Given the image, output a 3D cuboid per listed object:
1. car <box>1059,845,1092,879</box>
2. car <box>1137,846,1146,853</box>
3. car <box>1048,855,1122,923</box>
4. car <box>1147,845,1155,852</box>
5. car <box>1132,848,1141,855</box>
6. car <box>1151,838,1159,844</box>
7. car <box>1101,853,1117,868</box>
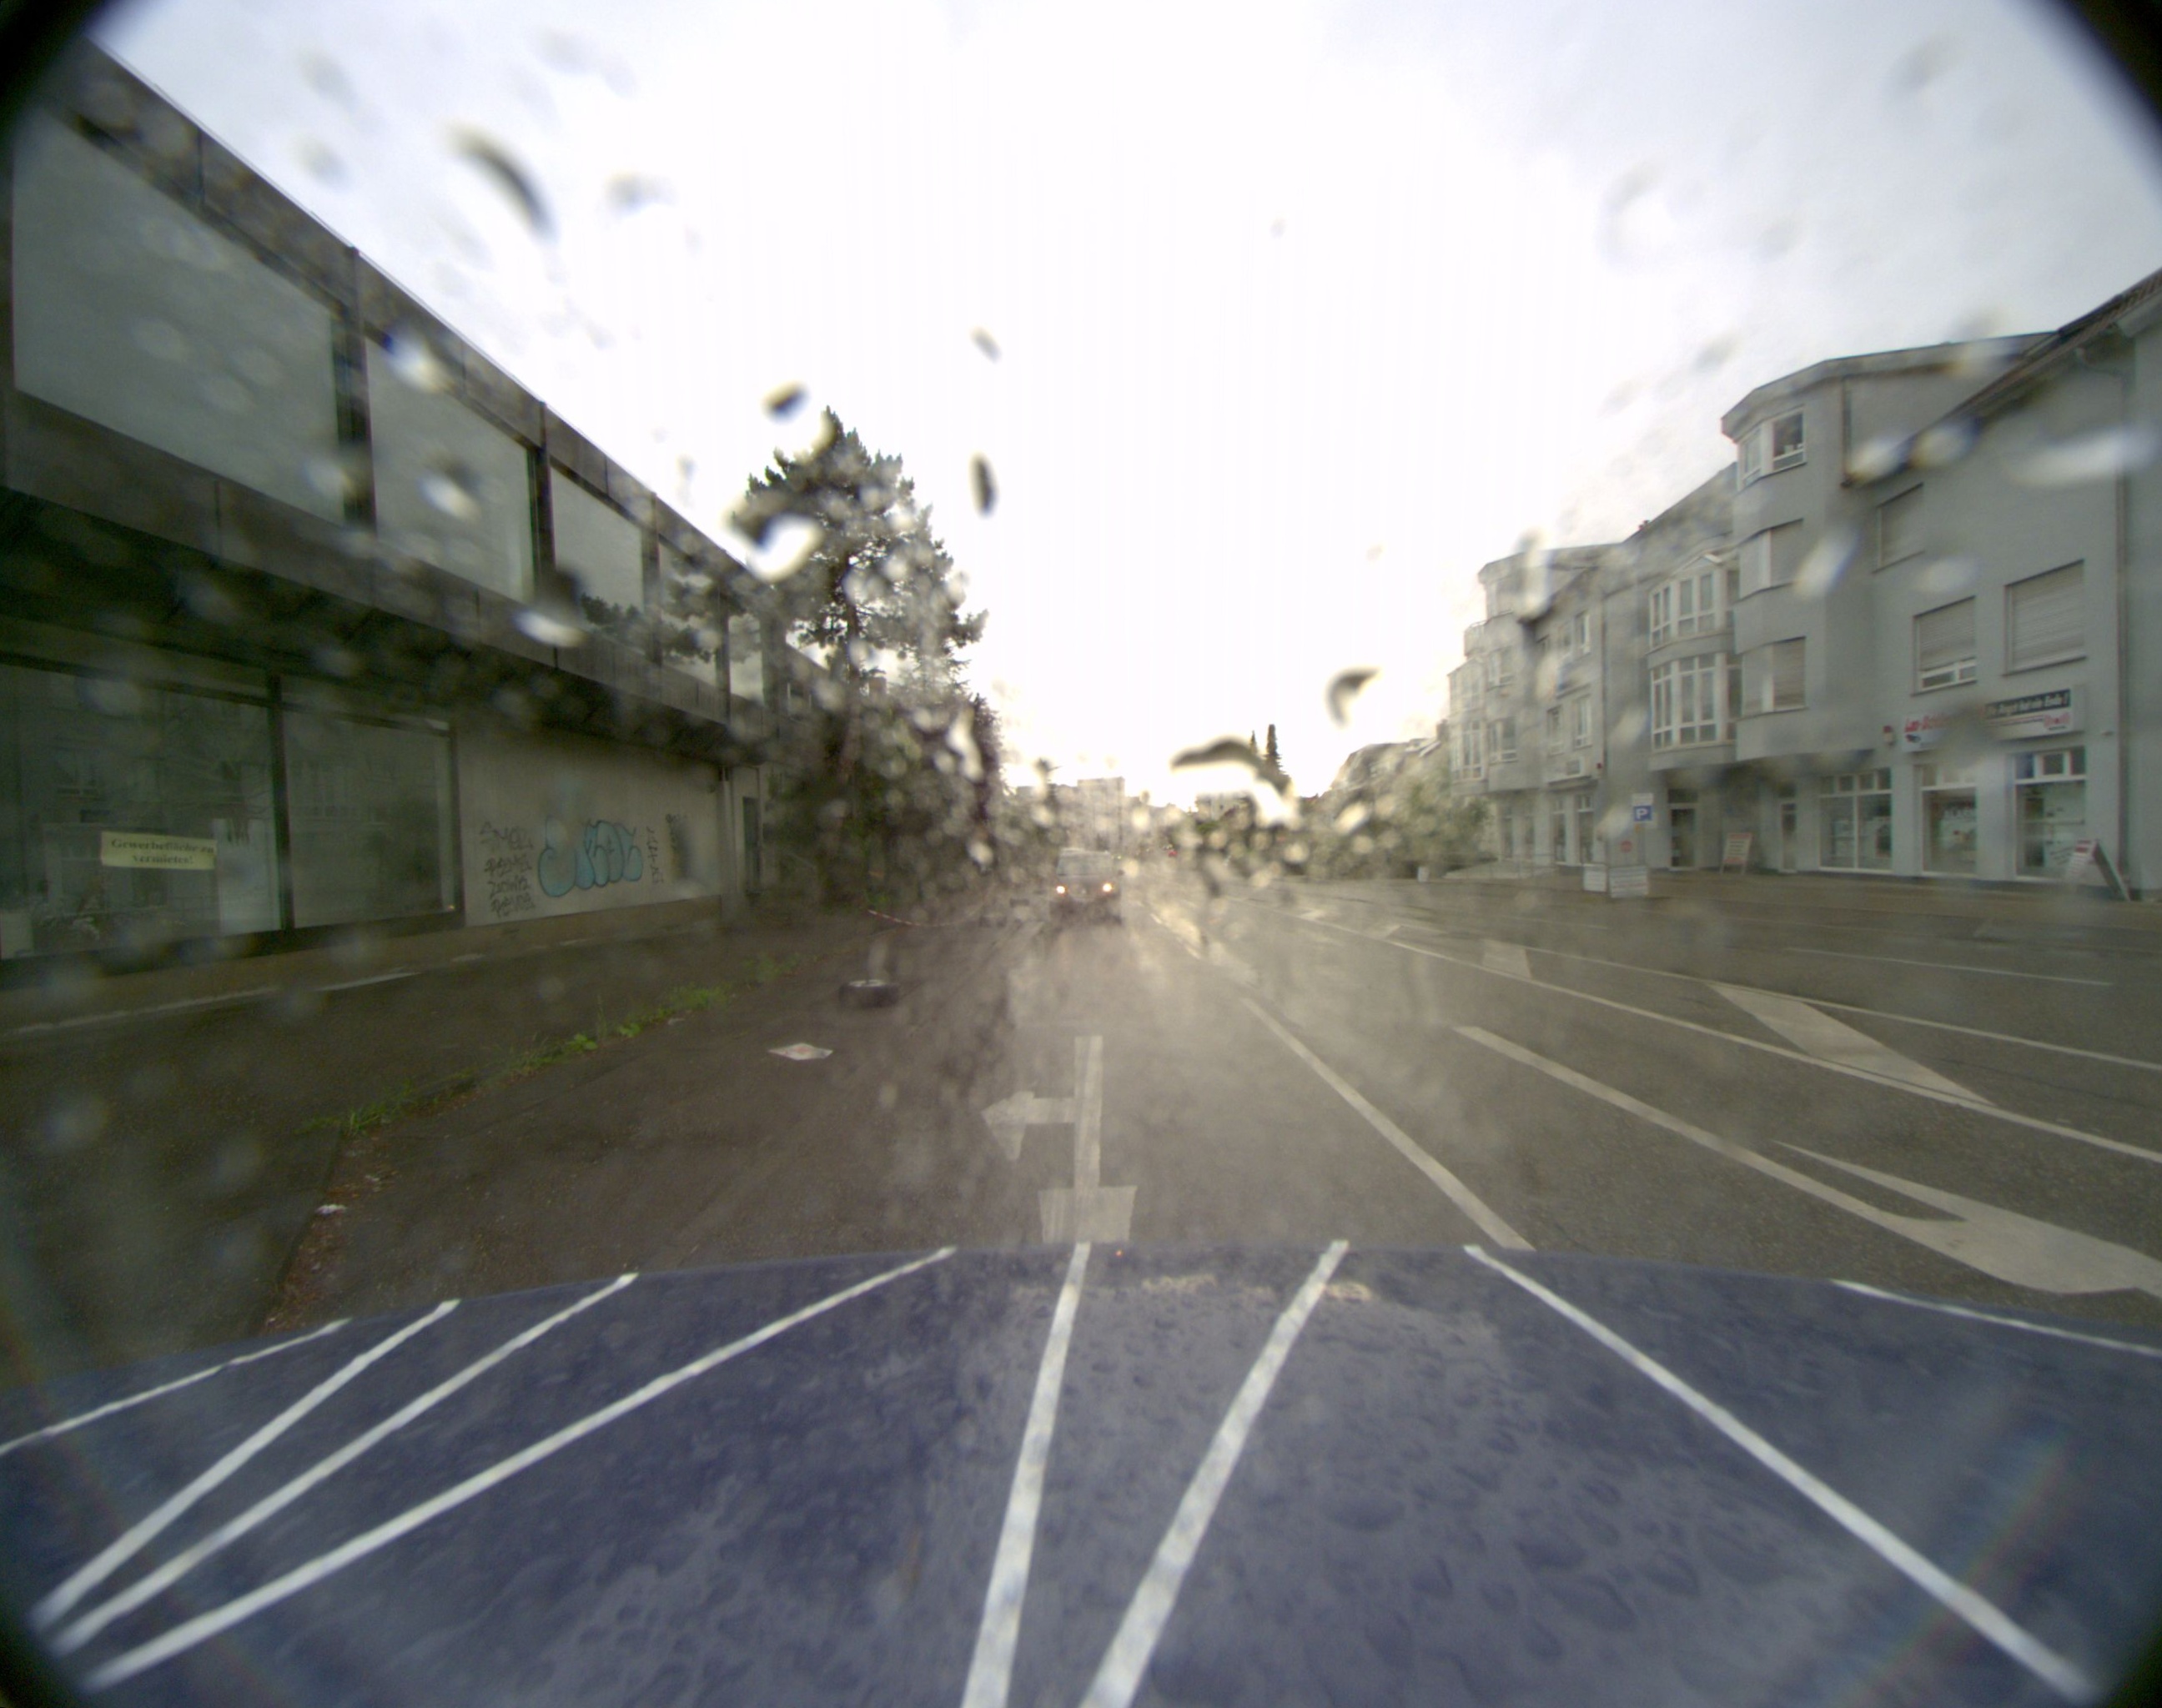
[{"bbox_3d":[-0.341,0.472,50.410,1.998,2.072,3.999,-2,1,1],"label":"car"},{"bbox_3d":[16.059,-1.123,201.508,1.997,1.774,4.002,-2,1,8],"label":"car"},{"bbox_3d":[0.119,0.852,20.604,1.754,1.534,4.676,-1,1,1],"label":"car"},{"bbox_3d":[20.748,-1.703,225.054,1.997,1.808,4.002,-2,1,8],"label":"car"},{"bbox_3d":[13.187,-0.642,181.039,1.998,1.723,3.999,-2,1,1],"label":"car"},{"bbox_3d":[23.519,-4.057,242.431,1.996,1.808,4.003,-2,1,14],"label":"car"},{"bbox_3d":[3.325,0.797,91.212,1.803,1.675,3.999,-2,1,1],"label":"car"}]
